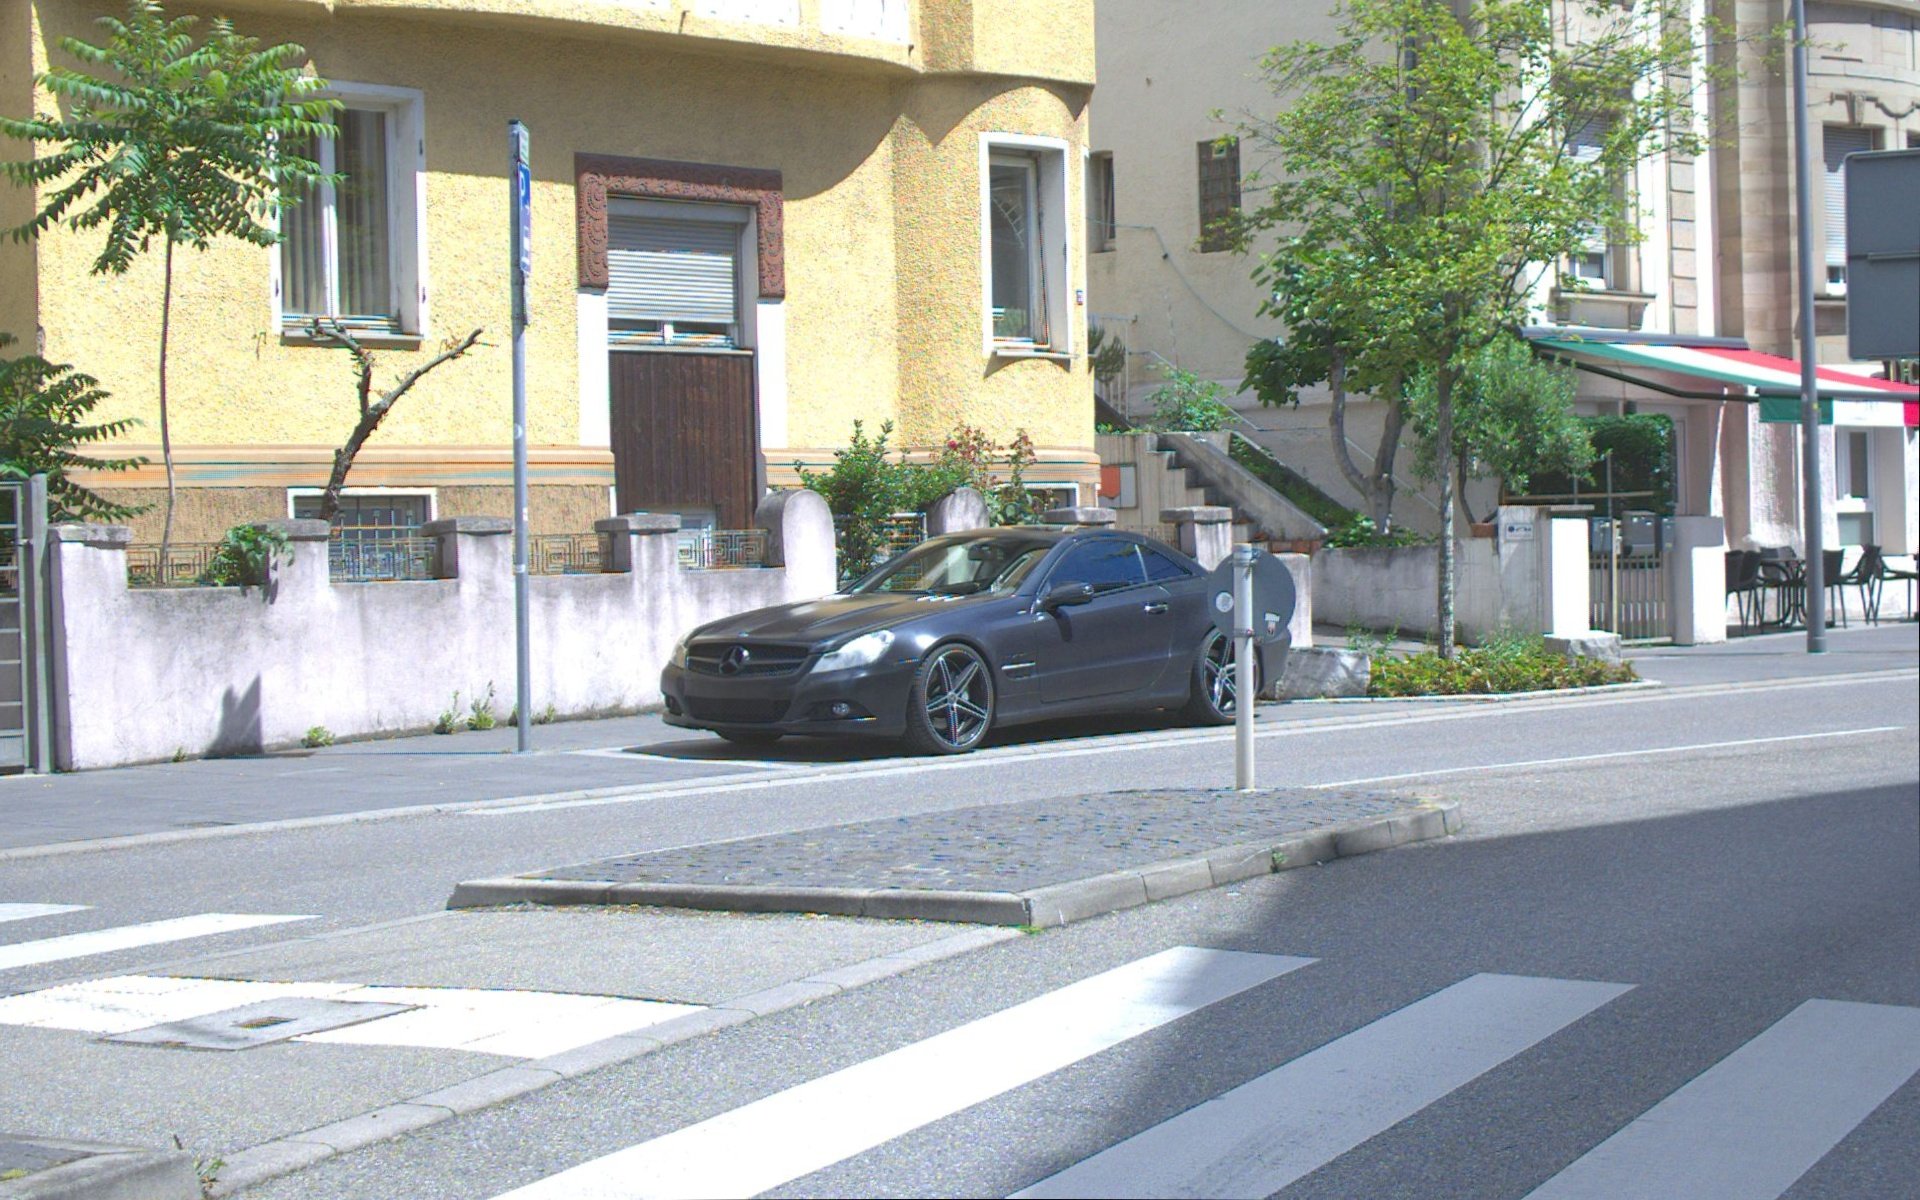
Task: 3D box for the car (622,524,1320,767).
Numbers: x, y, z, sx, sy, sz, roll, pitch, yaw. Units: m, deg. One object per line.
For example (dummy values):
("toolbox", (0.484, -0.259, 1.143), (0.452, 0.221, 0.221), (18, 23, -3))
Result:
("car", (0.171, 0.213, 21.062), (1.714, 1.241, 4.400), (0, 2, 43))
